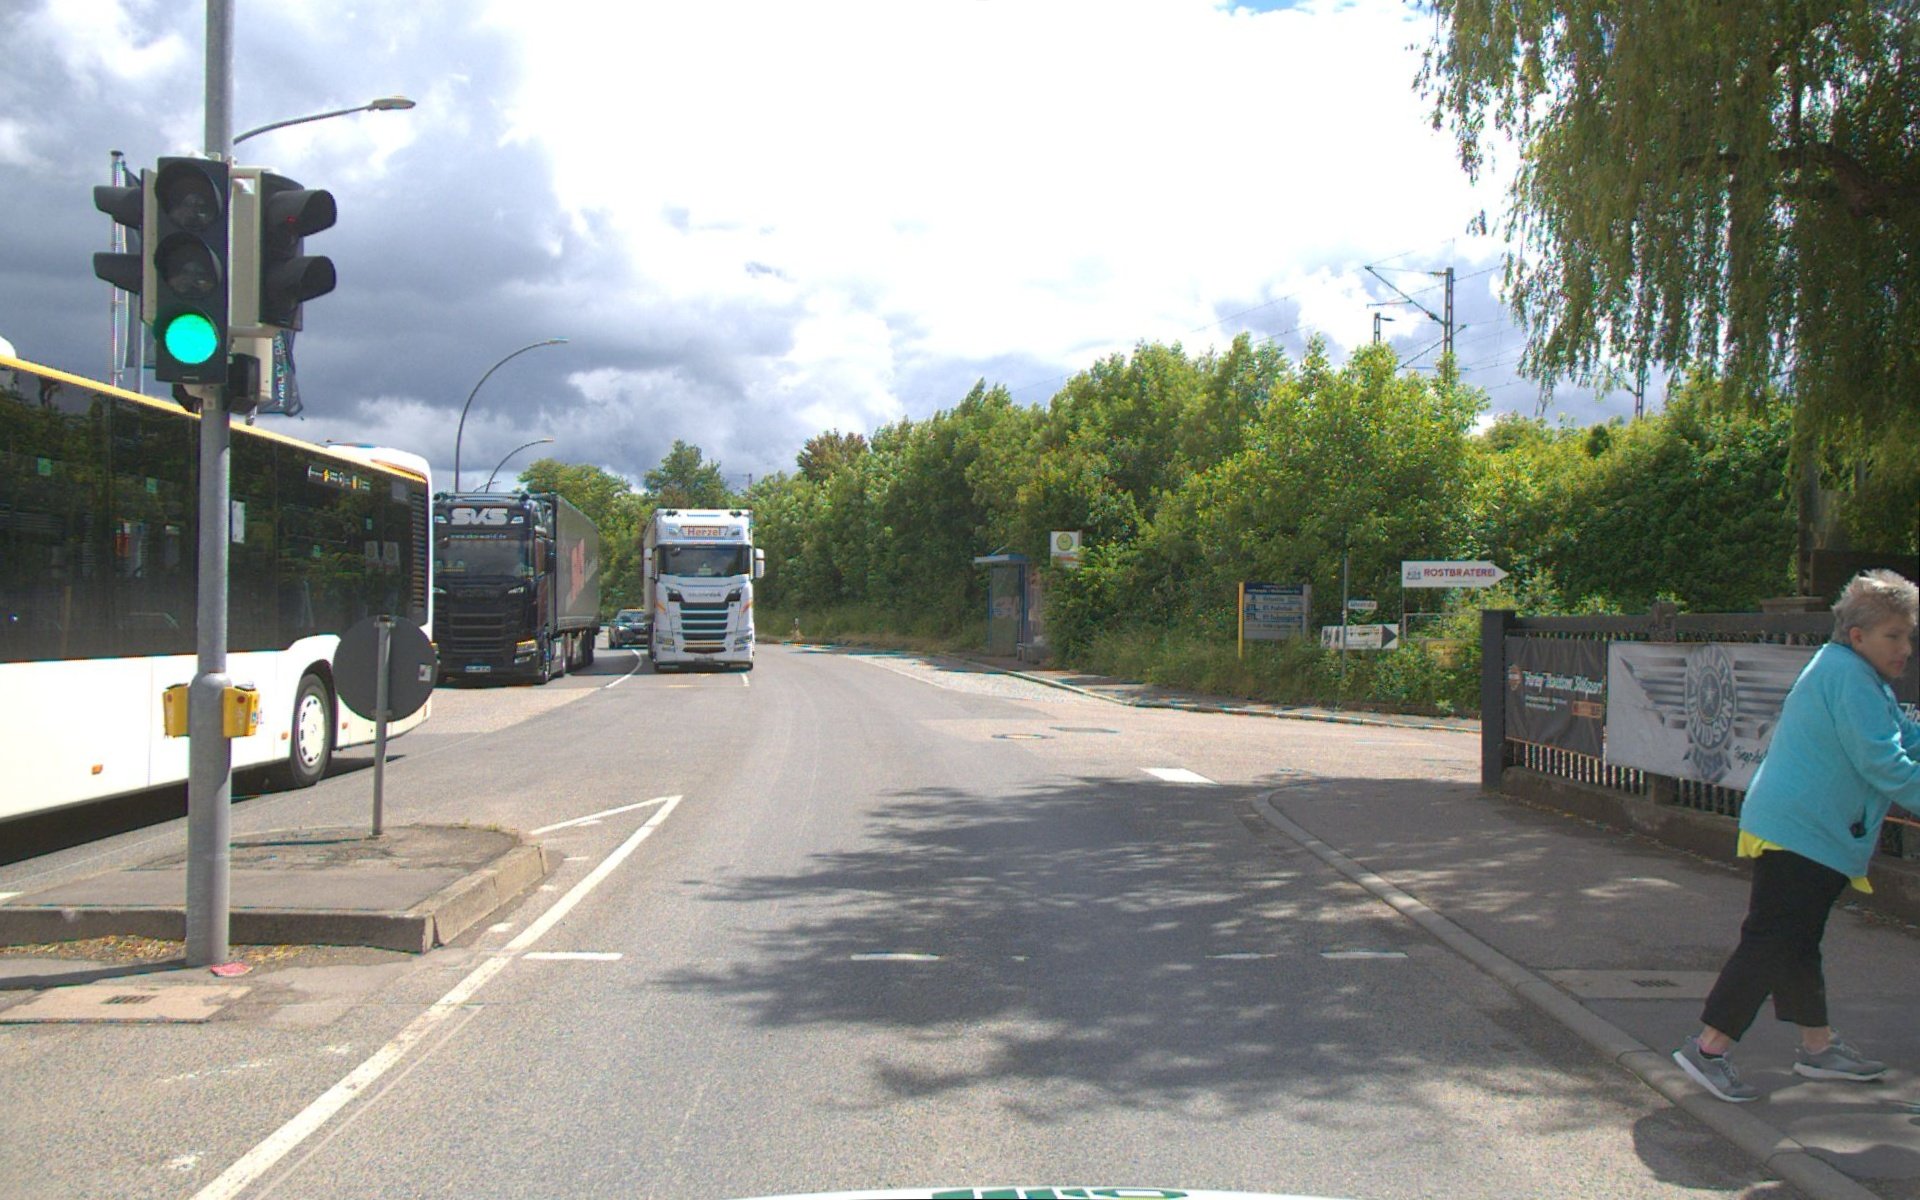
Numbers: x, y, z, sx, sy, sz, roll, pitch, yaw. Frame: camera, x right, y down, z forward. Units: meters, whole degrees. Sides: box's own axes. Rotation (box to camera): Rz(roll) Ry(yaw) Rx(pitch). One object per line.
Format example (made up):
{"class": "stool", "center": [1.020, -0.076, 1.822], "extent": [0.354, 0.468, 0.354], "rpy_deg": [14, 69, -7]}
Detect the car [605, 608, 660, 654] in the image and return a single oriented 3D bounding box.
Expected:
{"class": "car", "center": [-12.884, 1.214, 64.981], "extent": [1.959, 1.736, 3.986], "rpy_deg": [1, -1, -13]}

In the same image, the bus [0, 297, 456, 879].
{"class": "bus", "center": [-6.474, -0.028, 11.166], "extent": [2.664, 3.084, 12.261], "rpy_deg": [0, -1, -1]}

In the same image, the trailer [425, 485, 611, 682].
{"class": "trailer", "center": [-10.992, -0.263, 42.819], "extent": [2.747, 4.124, 15.525], "rpy_deg": [1, -1, -8]}

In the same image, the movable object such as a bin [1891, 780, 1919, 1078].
{"class": "movable object such as a bin", "center": [3.261, 0.990, 4.785], "extent": [0.731, 0.887, 0.670], "rpy_deg": [-1, -1, -2]}

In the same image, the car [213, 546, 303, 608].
{"class": "car", "center": [-16.792, -0.533, 39.633], "extent": [1.023, 1.388, 2.686], "rpy_deg": [1, -1, -1]}

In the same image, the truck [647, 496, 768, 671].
{"class": "truck", "center": [-6.555, -0.361, 42.441], "extent": [2.722, 4.191, 4.971], "rpy_deg": [1, -1, -12]}

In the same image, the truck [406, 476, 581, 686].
{"class": "truck", "center": [-10.010, -0.332, 36.132], "extent": [2.747, 4.124, 6.488], "rpy_deg": [1, -1, -8]}

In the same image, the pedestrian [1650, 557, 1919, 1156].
{"class": "pedestrian", "center": [2.603, 0.674, 4.786], "extent": [0.821, 1.570, 0.733], "rpy_deg": [-3, -1, -2]}

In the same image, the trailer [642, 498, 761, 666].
{"class": "trailer", "center": [-7.992, -0.371, 49.488], "extent": [2.722, 4.217, 15.305], "rpy_deg": [1, -1, -12]}
